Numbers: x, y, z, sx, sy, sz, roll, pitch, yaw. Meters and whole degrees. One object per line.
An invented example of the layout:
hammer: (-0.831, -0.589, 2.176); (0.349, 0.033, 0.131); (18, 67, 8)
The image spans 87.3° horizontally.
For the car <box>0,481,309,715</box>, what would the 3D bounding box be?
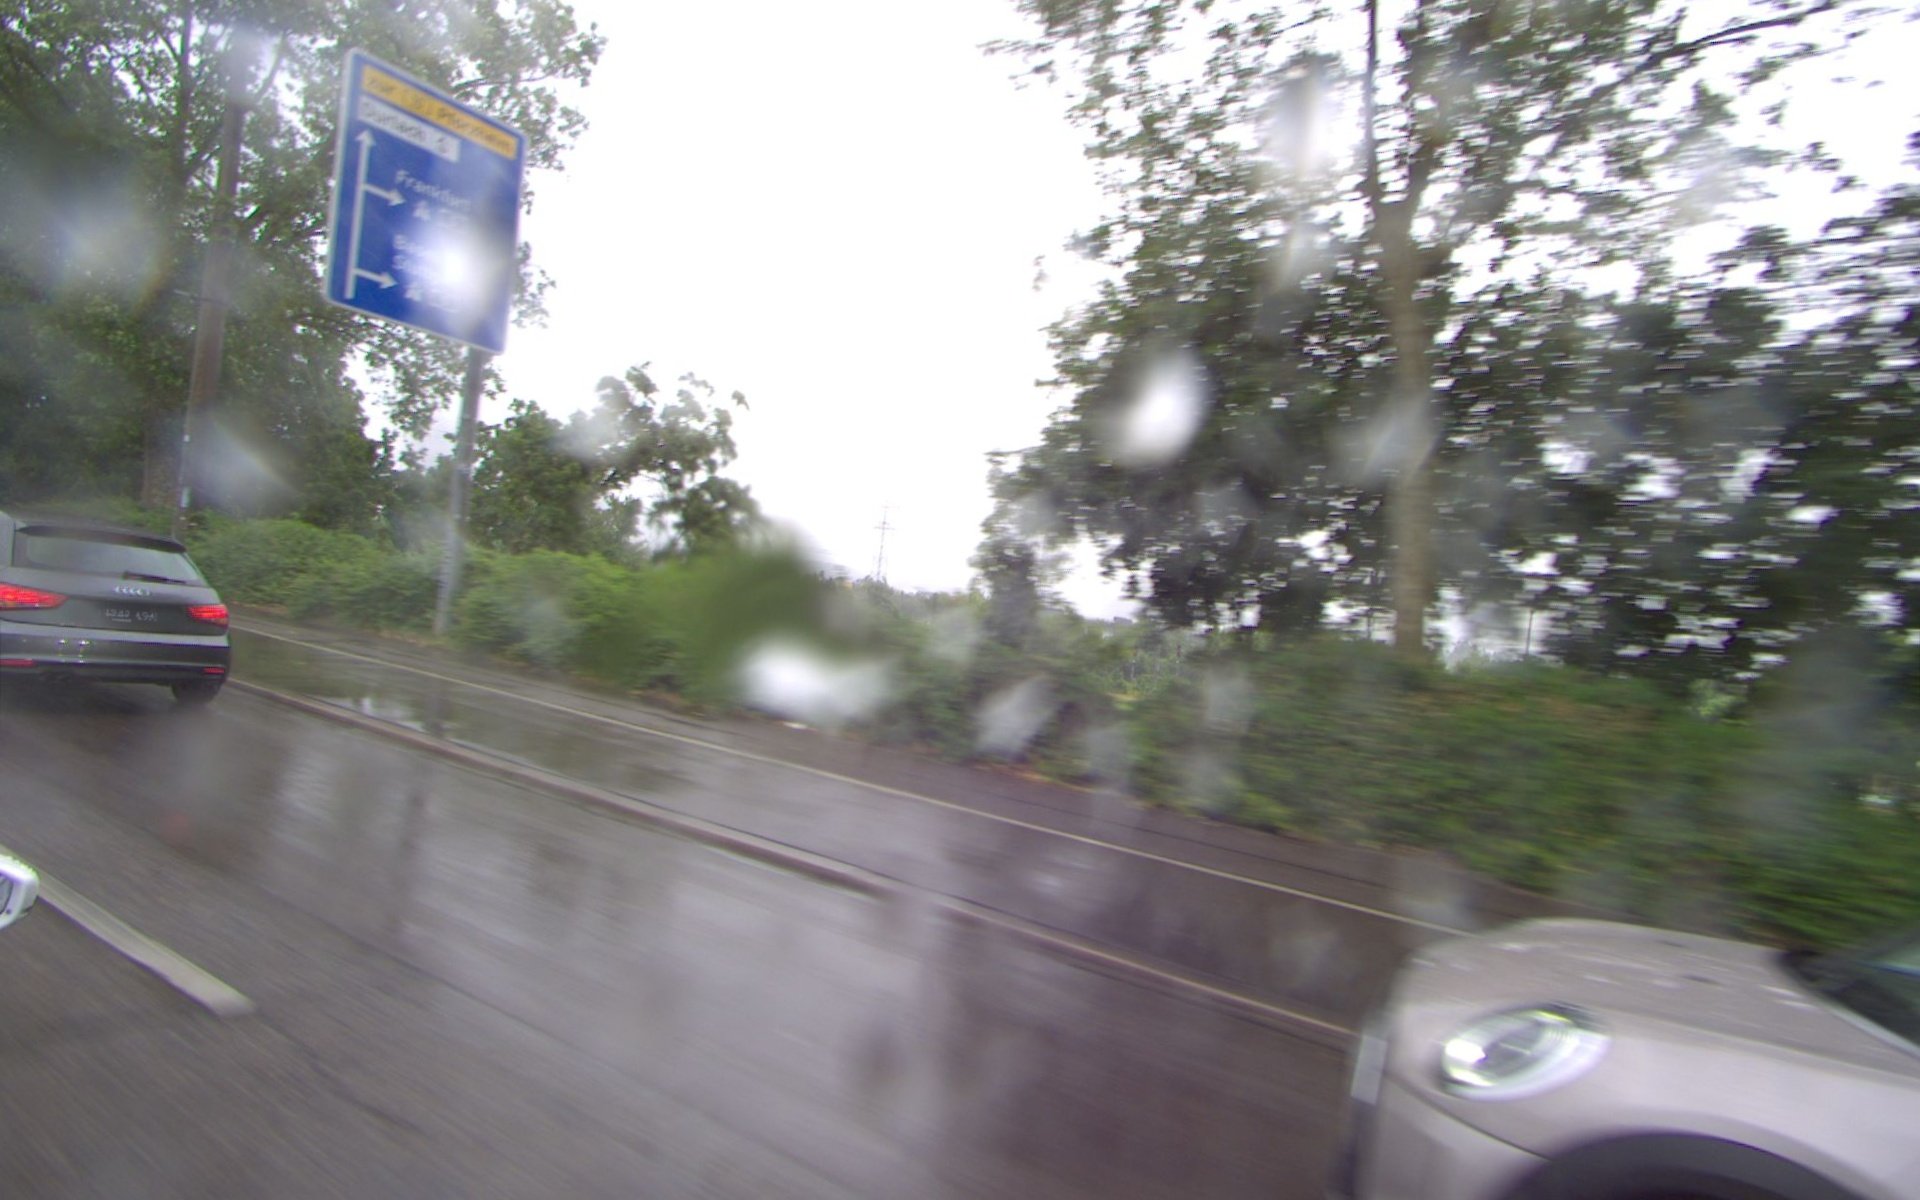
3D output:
car: (-7.645, -0.143, 8.432); (3.923, 1.546, 1.973); (8, -2, 30)

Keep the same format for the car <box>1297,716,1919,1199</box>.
car: (2.845, 1.256, 2.056); (3.789, 1.429, 1.797); (6, -4, 30)
